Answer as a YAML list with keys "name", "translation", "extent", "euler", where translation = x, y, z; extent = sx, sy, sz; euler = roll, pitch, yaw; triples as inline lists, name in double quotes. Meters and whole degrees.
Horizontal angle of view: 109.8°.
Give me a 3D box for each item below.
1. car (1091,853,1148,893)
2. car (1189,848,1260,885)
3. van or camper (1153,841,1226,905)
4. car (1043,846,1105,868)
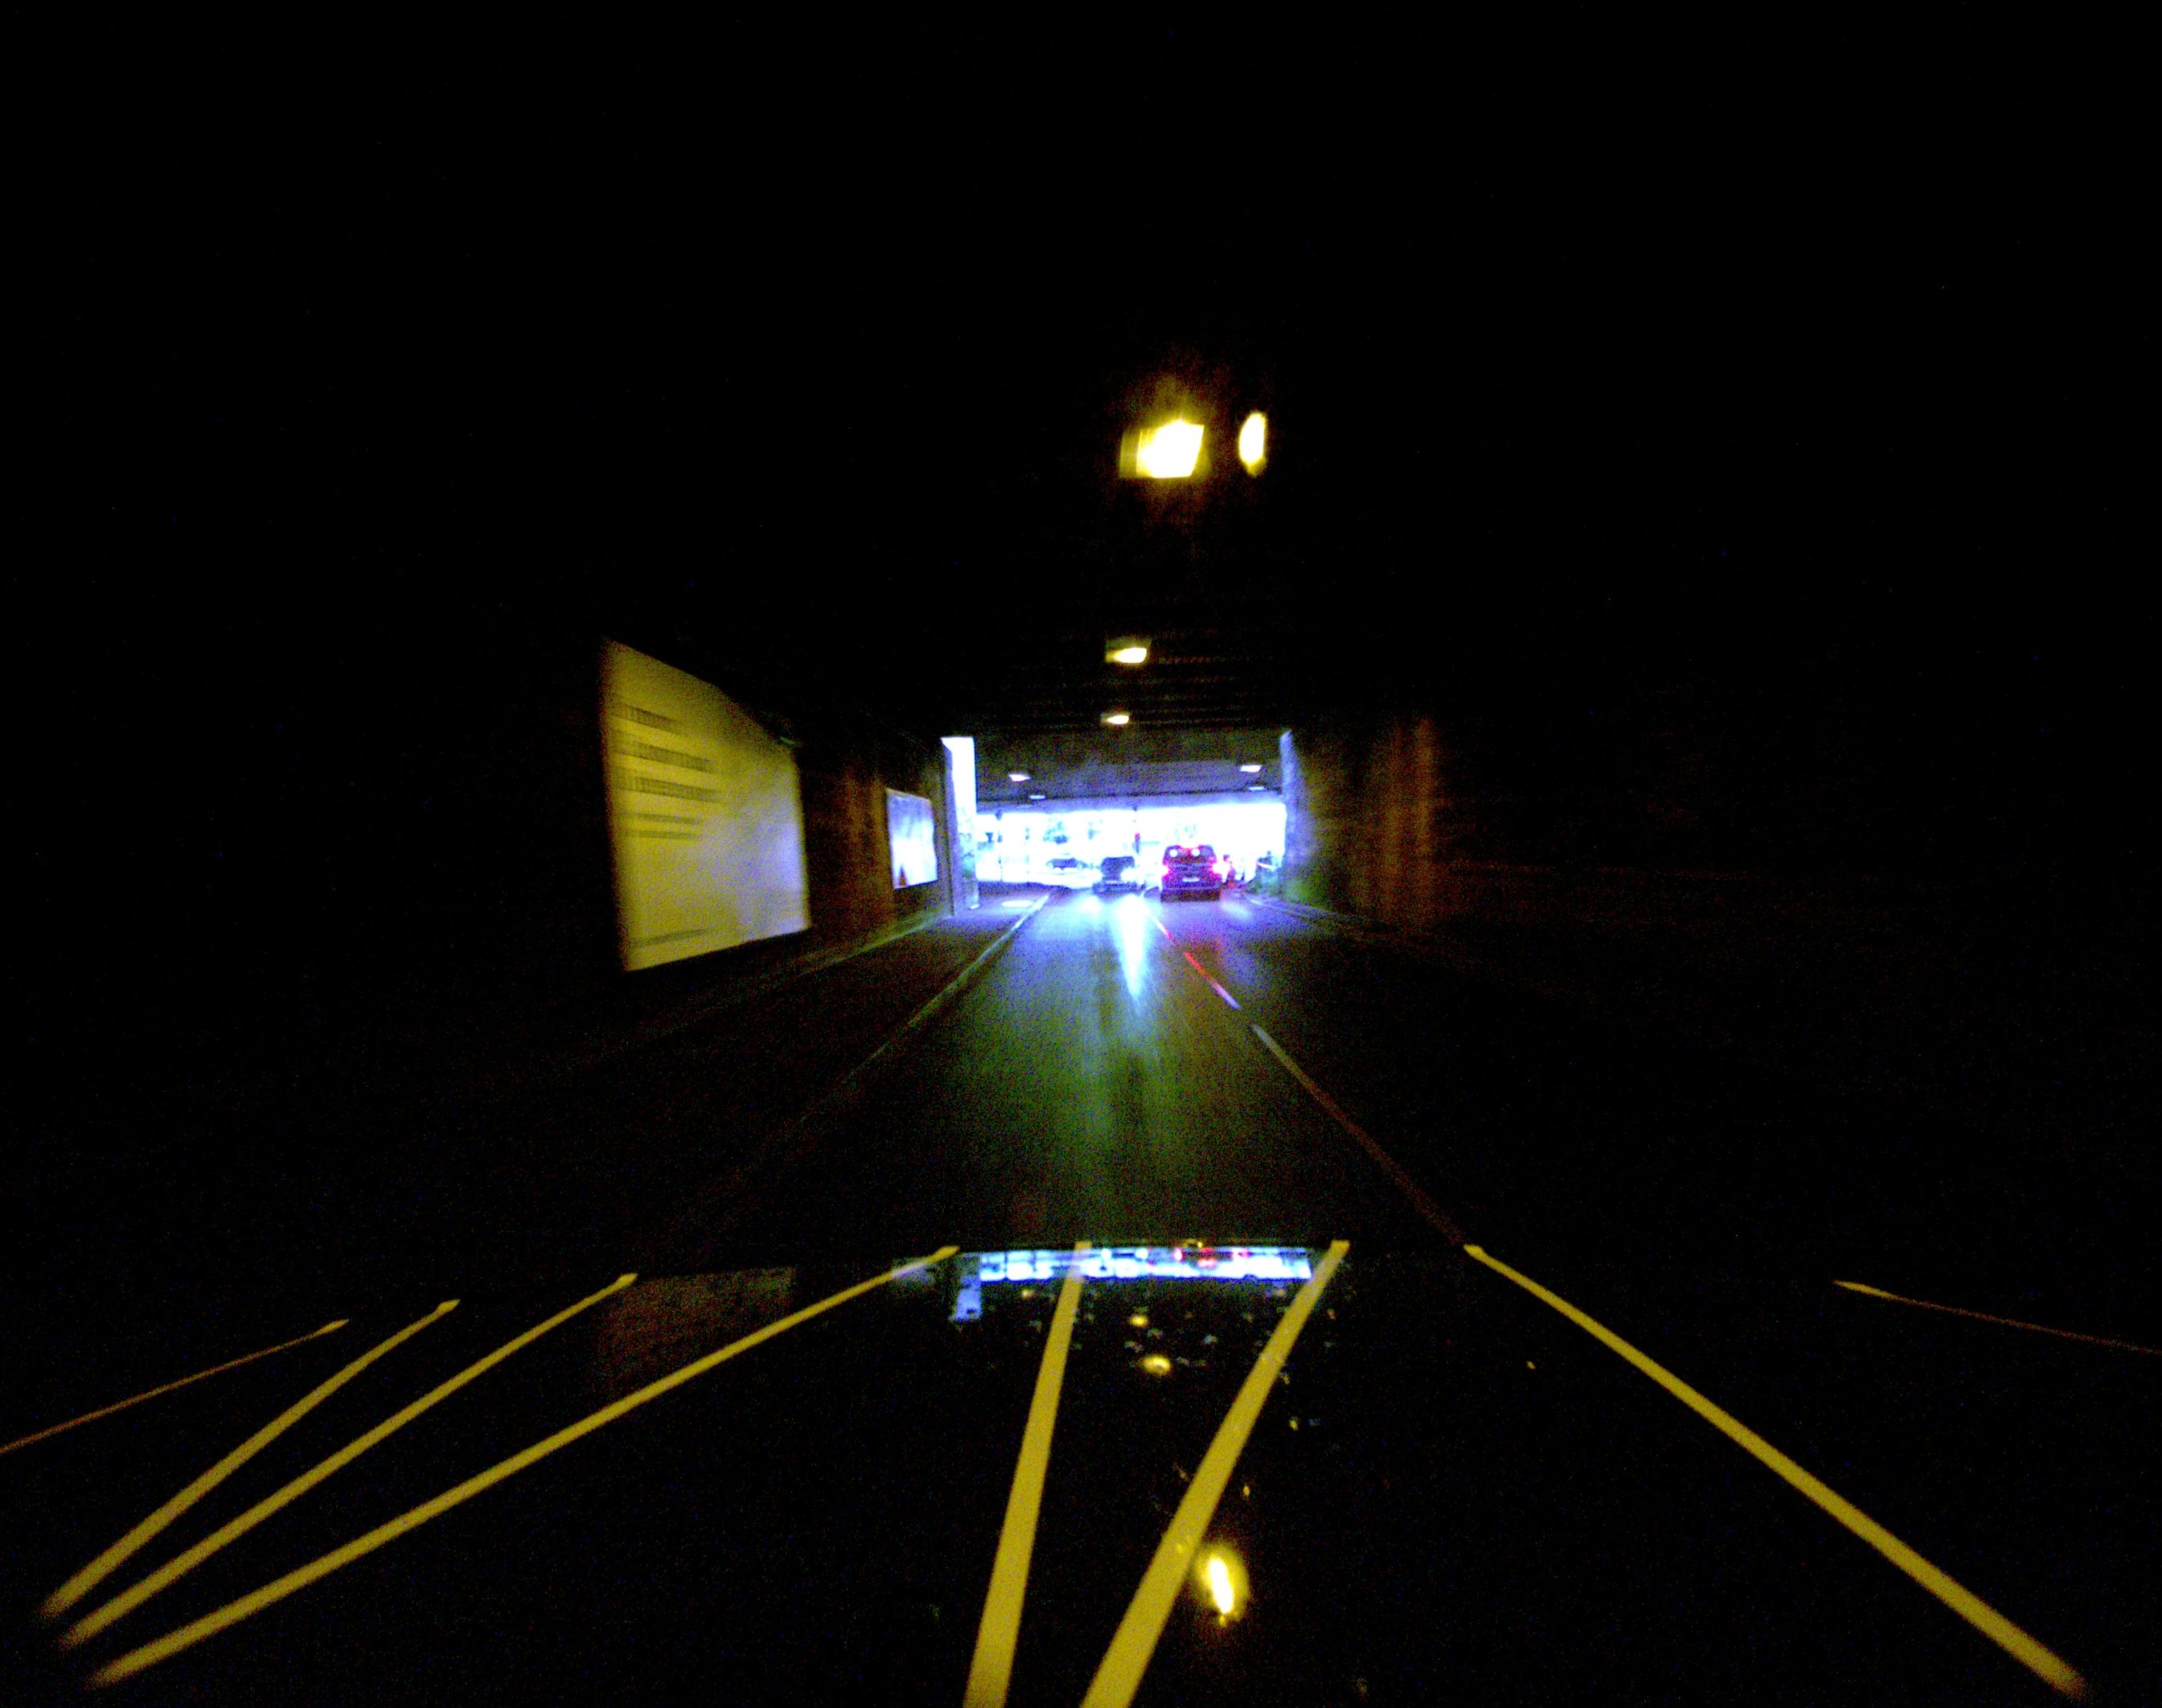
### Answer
- name: "car"
  translation: [1.655, 0.764, 31.444]
  extent: [1.705, 1.548, 4.005]
  euler: [-1, -1, 13]
- name: "car"
  translation: [7.303, 0.601, 38.394]
  extent: [1.996, 1.520, 4.507]
  euler: [-7, -1, 30]
- name: "van or camper"
  translation: [3.486, 0.526, 25.309]
  extent: [1.998, 1.858, 5.139]
  euler: [-1, 1, 4]
- name: "car"
  translation: [-0.518, 0.201, 56.721]
  extent: [4.223, 1.571, 1.772]
  euler: [0, 3, 28]
